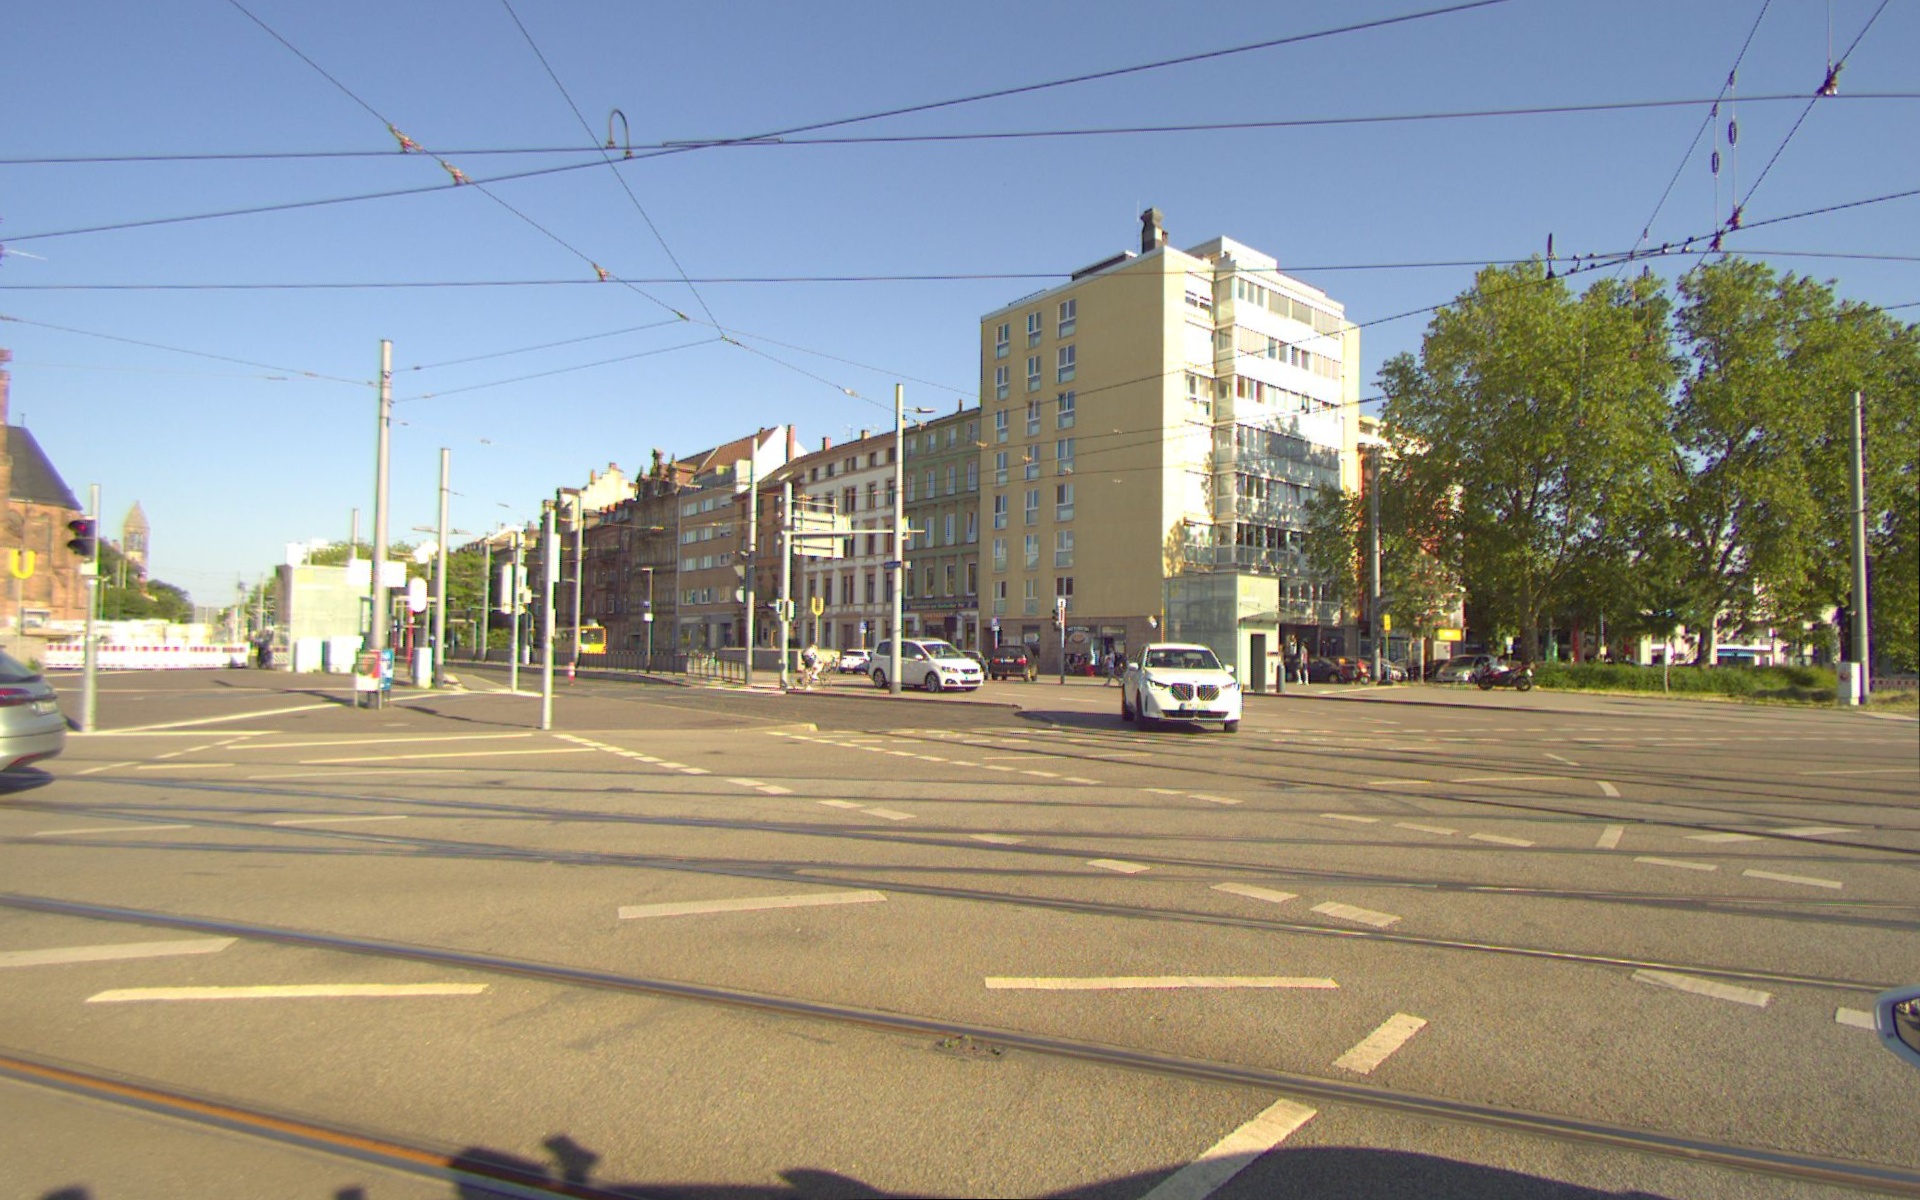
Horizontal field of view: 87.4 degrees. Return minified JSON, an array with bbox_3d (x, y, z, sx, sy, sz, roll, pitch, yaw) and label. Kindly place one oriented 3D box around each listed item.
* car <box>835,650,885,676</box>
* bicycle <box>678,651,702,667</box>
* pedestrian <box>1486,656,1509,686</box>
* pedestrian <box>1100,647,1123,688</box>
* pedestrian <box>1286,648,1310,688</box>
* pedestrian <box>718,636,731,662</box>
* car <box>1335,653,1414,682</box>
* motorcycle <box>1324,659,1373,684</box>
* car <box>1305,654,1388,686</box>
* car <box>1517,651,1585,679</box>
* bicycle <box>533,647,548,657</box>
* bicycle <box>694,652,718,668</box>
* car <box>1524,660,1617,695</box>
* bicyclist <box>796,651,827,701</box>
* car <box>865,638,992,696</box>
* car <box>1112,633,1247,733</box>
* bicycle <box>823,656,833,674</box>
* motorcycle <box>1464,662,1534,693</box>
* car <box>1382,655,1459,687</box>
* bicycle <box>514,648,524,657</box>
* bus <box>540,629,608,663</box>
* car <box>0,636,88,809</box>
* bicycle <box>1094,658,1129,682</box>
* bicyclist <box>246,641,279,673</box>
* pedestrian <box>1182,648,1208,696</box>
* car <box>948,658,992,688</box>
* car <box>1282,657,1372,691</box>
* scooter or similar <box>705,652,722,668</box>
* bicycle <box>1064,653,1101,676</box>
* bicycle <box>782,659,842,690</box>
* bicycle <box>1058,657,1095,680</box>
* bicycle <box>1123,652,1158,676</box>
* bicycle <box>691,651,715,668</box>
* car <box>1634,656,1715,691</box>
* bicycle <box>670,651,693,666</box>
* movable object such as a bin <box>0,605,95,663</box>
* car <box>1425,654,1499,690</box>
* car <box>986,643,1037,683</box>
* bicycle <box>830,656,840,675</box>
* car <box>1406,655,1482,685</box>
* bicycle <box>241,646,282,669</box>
[{"bbox_3d":[-5.910,3.750,59.884,1.922,1.483,4.117,0,-3,10],"label":"car"},{"bbox_3d":[-21.414,4.672,79.641,1.756,1.203,0.465,4,-3,-39],"label":"bicycle"},{"bbox_3d":[32.760,4.340,61.210,0.895,1.760,0.878,2,0,-36],"label":"pedestrian"},{"bbox_3d":[6.463,2.876,42.960,0.741,1.750,0.696,-1,-3,35],"label":"pedestrian"},{"bbox_3d":[14.814,2.980,44.055,0.741,1.750,0.695,2,-3,-17],"label":"pedestrian"},{"bbox_3d":[-19.419,4.044,82.855,0.746,2.040,0.690,2,0,-38],"label":"pedestrian"},{"bbox_3d":[24.775,3.991,60.151,1.840,1.439,3.957,2,0,-38],"label":"car"},{"bbox_3d":[17.060,3.138,44.147,0.874,1.060,1.783,2,-4,-41],"label":"motorcycle"},{"bbox_3d":[21.510,3.872,56.048,1.840,1.439,3.957,2,0,-38],"label":"car"},{"bbox_3d":[44.070,4.798,74.965,1.840,1.803,3.957,2,0,-38],"label":"car"},{"bbox_3d":[-56.741,7.029,136.004,0.483,1.255,1.881,-3,-4,39],"label":"bicycle"},{"bbox_3d":[-19.550,4.612,77.295,1.756,1.194,0.465,4,-3,-39],"label":"bicycle"},{"bbox_3d":[30.747,3.870,50.668,3.929,1.530,1.796,0,-1,31],"label":"car"},{"bbox_3d":[-4.947,2.507,33.433,0.671,1.637,0.805,2,-3,-43],"label":"bicyclist"},{"bbox_3d":[-1.119,2.183,33.704,1.927,1.756,4.410,1,-1,-41],"label":"car"},{"bbox_3d":[4.298,1.619,20.364,1.903,1.769,4.625,0,-3,2],"label":"car"},{"bbox_3d":[-8.197,4.026,62.349,0.411,1.124,1.096,3,-4,3],"label":"bicycle"},{"bbox_3d":[20.823,2.968,38.808,2.245,1.088,1.037,-1,-2,37],"label":"motorcycle"},{"bbox_3d":[28.473,4.367,62.172,1.840,1.657,3.957,2,0,-38],"label":"car"},{"bbox_3d":[-60.765,7.215,138.396,1.863,1.255,0.488,-4,-4,42],"label":"bicycle"},{"bbox_3d":[-38.202,4.521,99.088,2.700,3.223,12.404,2,-3,-38],"label":"bus"},{"bbox_3d":[-10.245,0.975,8.181,4.379,1.441,1.833,2,-3,-29],"label":"car"},{"bbox_3d":[8.176,3.761,54.363,0.655,1.265,1.878,2,-3,-41],"label":"bicycle"},{"bbox_3d":[-32.820,2.682,47.265,0.802,1.361,0.899,8,-4,-14],"label":"bicyclist"},{"bbox_3d":[8.657,2.642,36.998,0.853,1.750,0.795,0,-3,20],"label":"pedestrian"},{"bbox_3d":[0.559,3.764,51.378,1.752,1.417,3.897,1,-5,8],"label":"car"},{"bbox_3d":[19.684,3.923,53.980,1.842,1.502,4.176,2,0,-41],"label":"car"},{"bbox_3d":[-18.828,4.608,76.874,0.630,1.231,1.209,-1,-5,24],"label":"scooter or similar"},{"bbox_3d":[6.963,3.660,57.247,0.654,1.265,2.272,1,-3,-40],"label":"bicycle"},{"bbox_3d":[-4.922,2.473,33.458,1.882,0.954,0.805,2,-3,-44],"label":"bicycle"},{"bbox_3d":[6.548,3.850,56.567,0.654,1.265,2.272,1,-3,-40],"label":"bicycle"},{"bbox_3d":[9.677,3.413,53.920,0.655,1.265,1.878,2,-3,-41],"label":"bicycle"},{"bbox_3d":[-19.854,4.606,77.688,1.756,1.194,0.465,4,-3,-39],"label":"bicycle"},{"bbox_3d":[46.696,4.767,65.680,1.841,2.026,3.953,2,0,-40],"label":"car"},{"bbox_3d":[-22.387,4.694,80.761,1.756,1.203,0.465,4,-3,-39],"label":"bicycle"},{"bbox_3d":[-44.952,1.617,49.207,5.082,2.559,2.628,2,0,34],"label":"movable object such as a bin"},{"bbox_3d":[25.951,3.715,51.877,3.966,1.720,1.901,2,-5,-39],"label":"car"},{"bbox_3d":[2.574,3.100,49.307,1.920,1.837,4.256,1,-4,10],"label":"car"},{"bbox_3d":[-7.762,4.048,62.333,0.411,1.124,1.096,3,-4,3],"label":"bicycle"},{"bbox_3d":[30.927,4.452,64.290,1.840,1.657,3.957,2,0,-38],"label":"car"},{"bbox_3d":[-32.822,2.682,47.260,0.802,0.953,1.997,8,-5,-14],"label":"bicycle"}]
